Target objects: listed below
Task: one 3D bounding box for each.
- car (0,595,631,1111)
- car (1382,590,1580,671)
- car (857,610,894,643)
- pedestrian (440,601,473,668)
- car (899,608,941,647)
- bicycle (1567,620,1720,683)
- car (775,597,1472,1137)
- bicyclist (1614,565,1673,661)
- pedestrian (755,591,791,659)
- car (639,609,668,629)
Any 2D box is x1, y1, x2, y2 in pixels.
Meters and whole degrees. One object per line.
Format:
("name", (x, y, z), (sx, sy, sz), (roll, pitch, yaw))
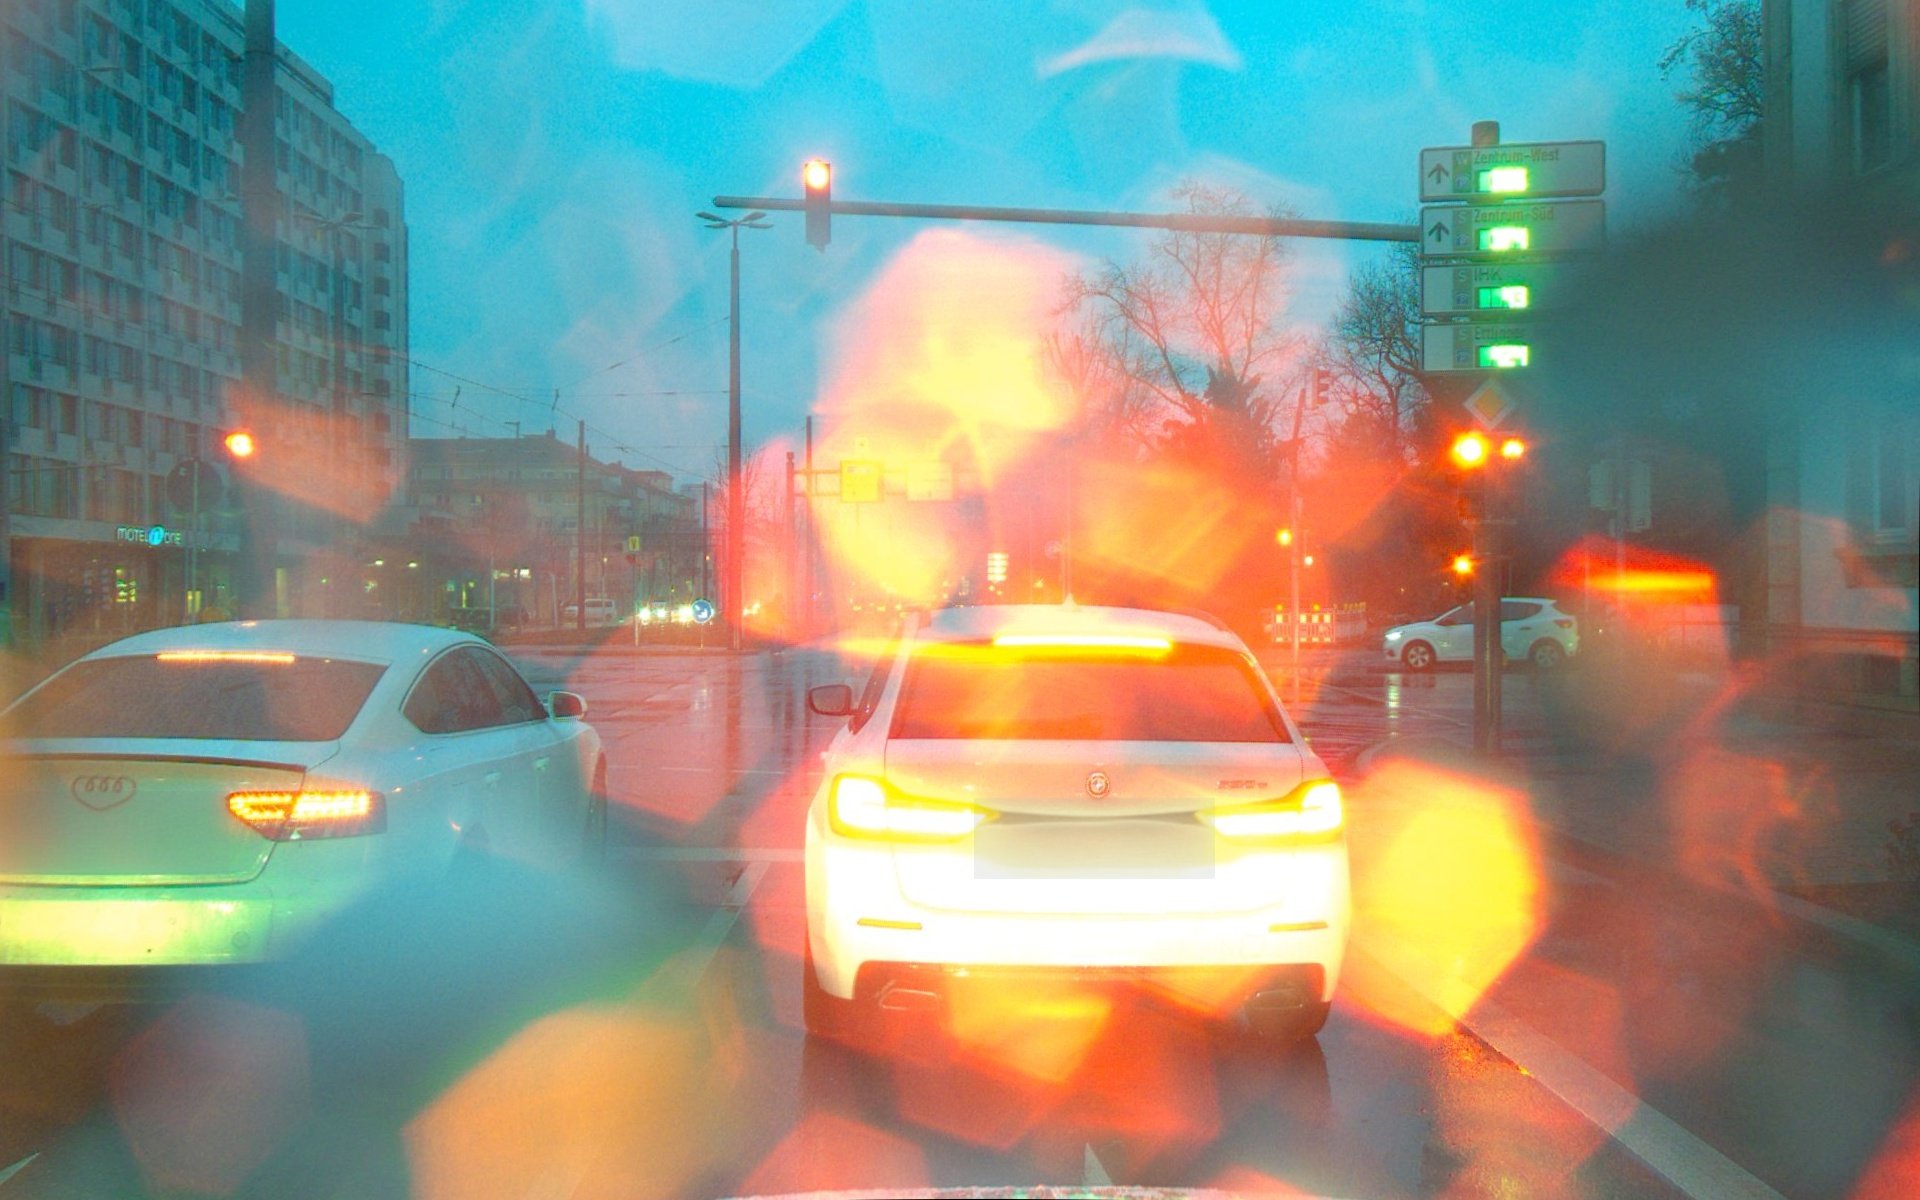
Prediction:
("car", (-2.713, 0.731, 6.977), (1.954, 1.481, 4.366), (0, 0, -3))
("car", (11.049, 0.637, 35.040), (3.874, 1.581, 1.749), (1, -1, 21))
("car", (-4.446, 1.358, 86.541), (1.807, 1.637, 3.941), (1, -1, -4))
("pedestrian", (-13.425, 0.918, 44.123), (0.777, 1.741, 0.809), (2, -1, -16))
("car", (-1.820, 1.236, 74.596), (1.806, 1.637, 3.943), (1, -1, -2))
("bicycle", (12.944, 0.973, 31.413), (2.611, 1.108, 0.815), (1, -1, 19))
("car", (0.369, 0.740, 6.805), (1.954, 1.481, 4.366), (0, 0, -3))
("bicyclist", (12.972, 0.253, 31.418), (0.952, 1.789, 0.813), (1, -1, 19))
("pedestrian", (-5.260, 0.700, 46.536), (0.887, 1.888, 0.810), (2, -1, -12))
("car", (-24.579, 1.551, 132.601), (1.641, 1.534, 3.695), (1, -1, -1))
